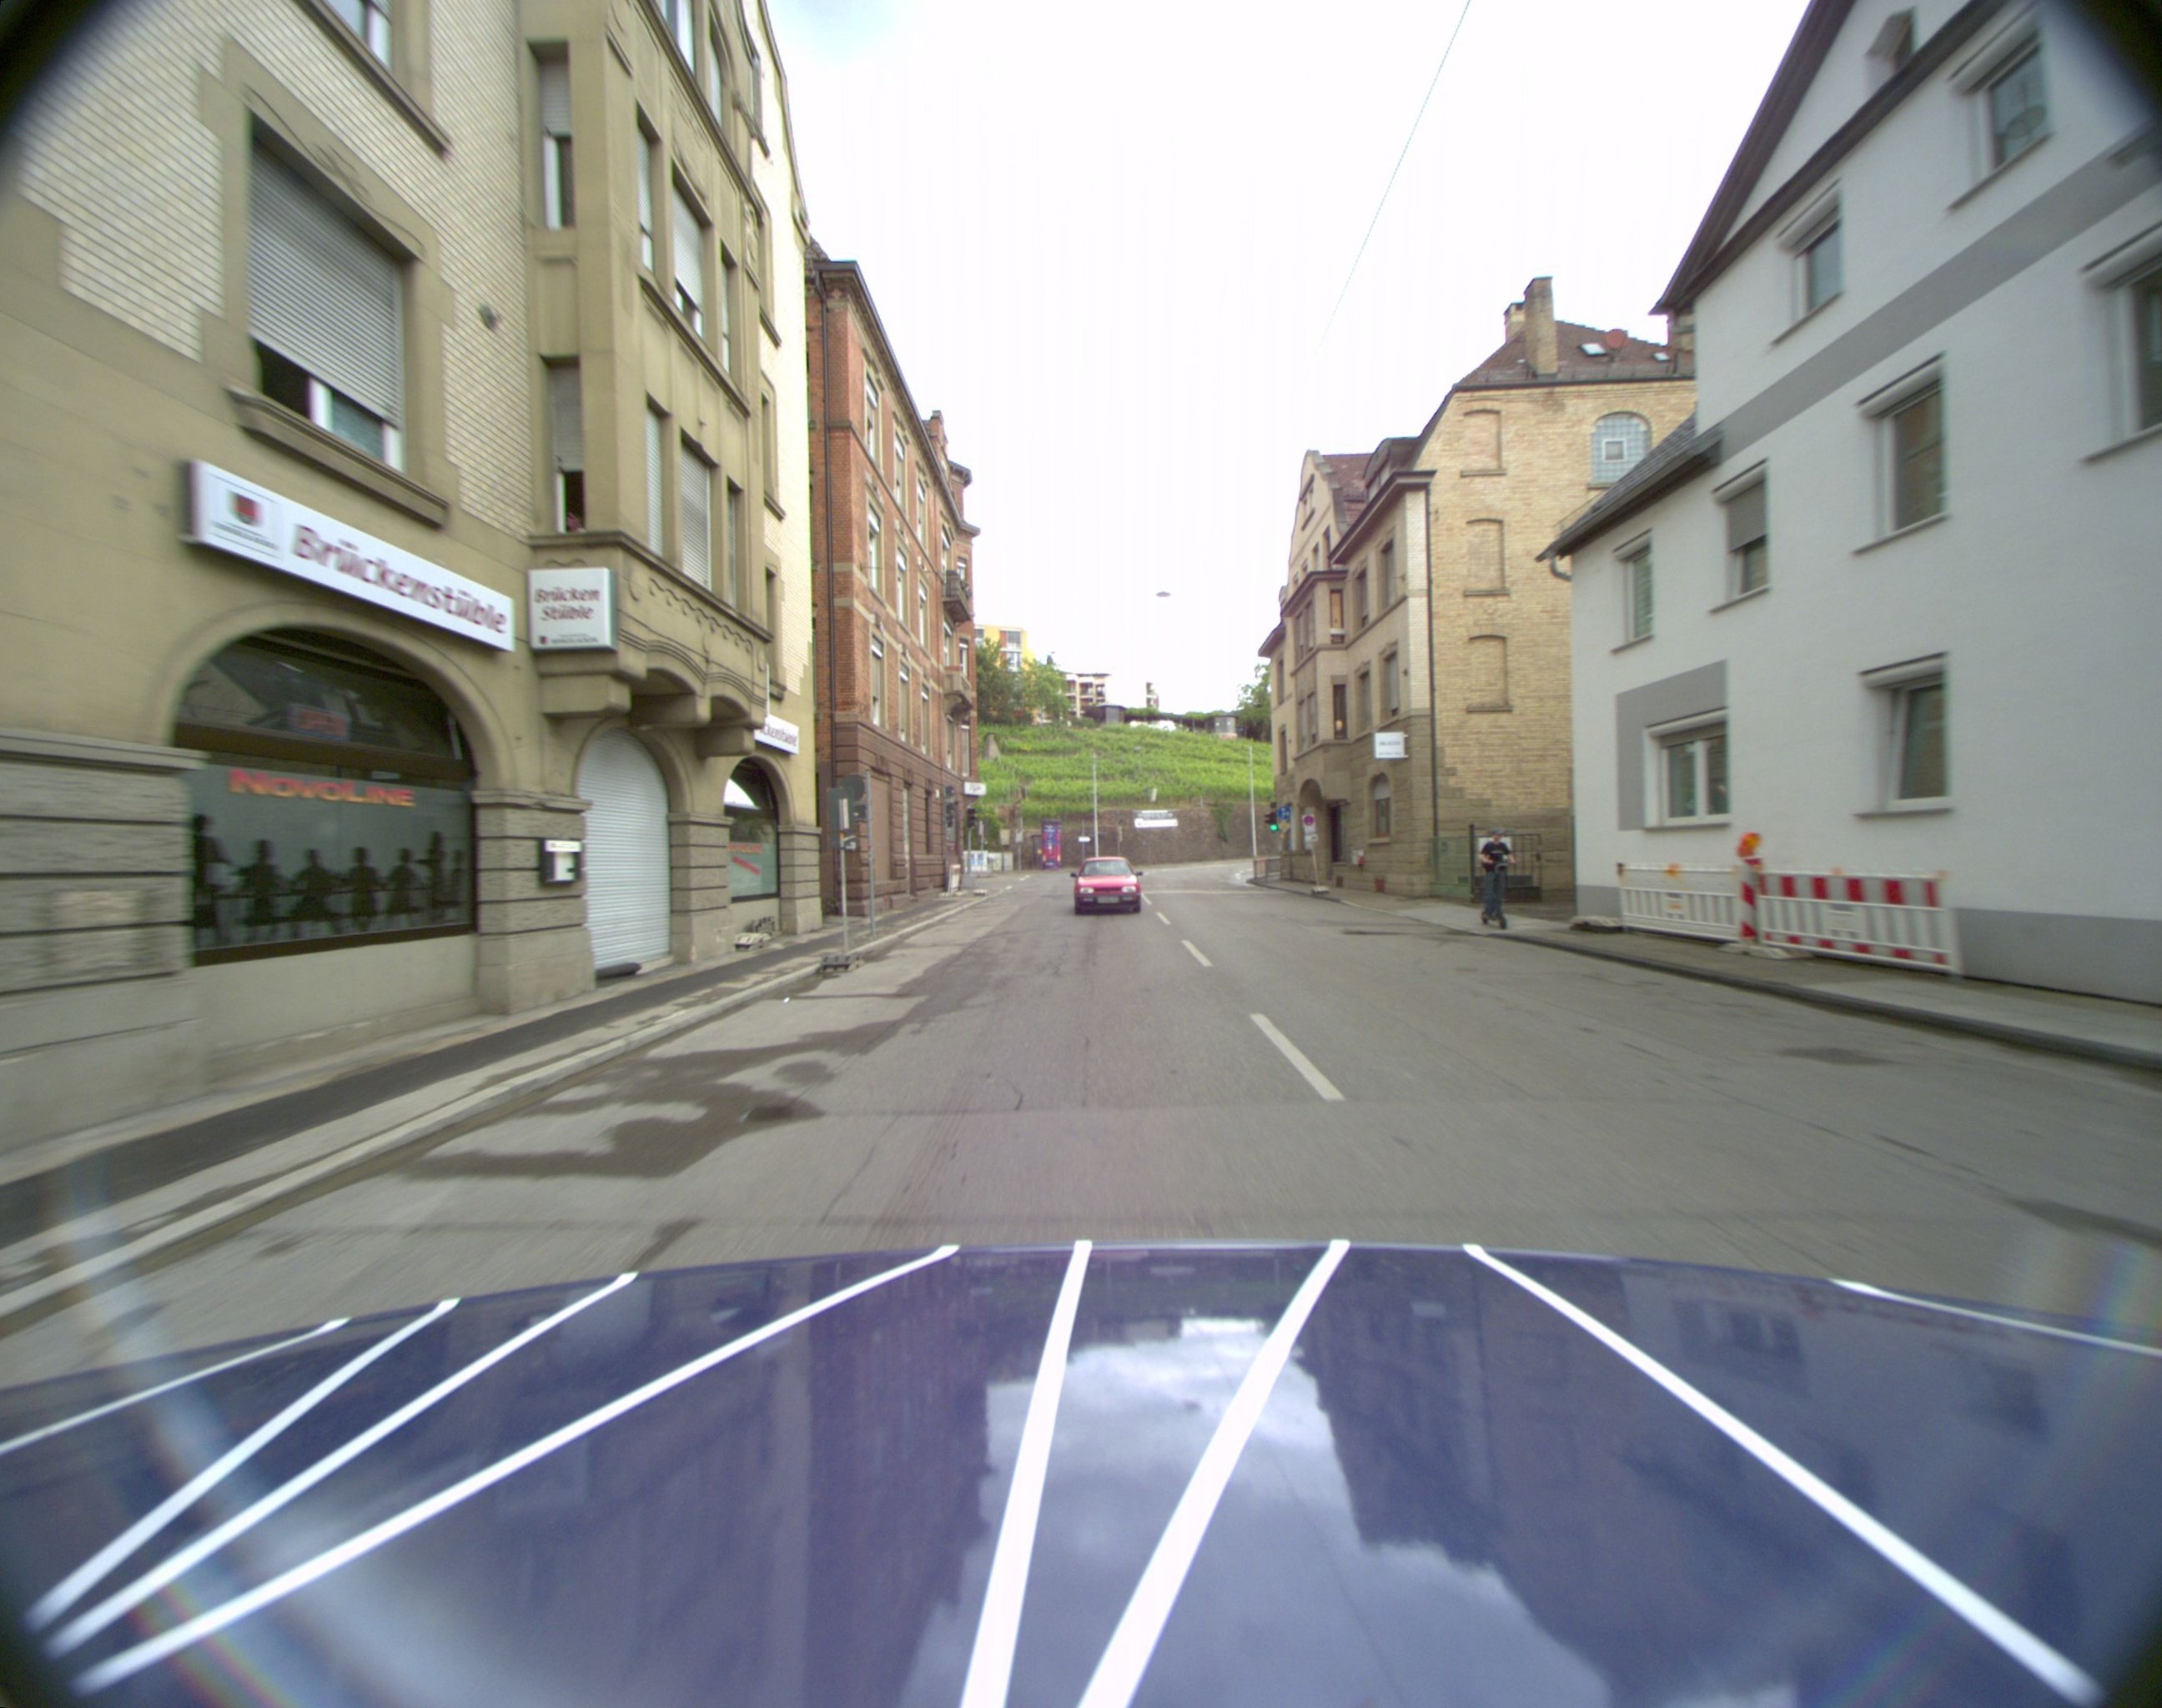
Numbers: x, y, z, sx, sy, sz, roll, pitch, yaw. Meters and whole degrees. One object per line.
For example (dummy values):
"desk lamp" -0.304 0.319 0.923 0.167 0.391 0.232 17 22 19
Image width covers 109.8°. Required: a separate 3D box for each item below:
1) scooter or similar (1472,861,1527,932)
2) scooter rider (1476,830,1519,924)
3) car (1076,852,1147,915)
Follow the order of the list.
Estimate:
"scooter or similar" 7.735 0.760 14.083 0.379 1.235 1.227 -2 1 4
"scooter rider" 7.728 0.410 14.106 0.488 1.696 0.577 -2 2 4
"car" 0.746 0.689 20.182 1.646 1.430 4.000 -3 0 1
